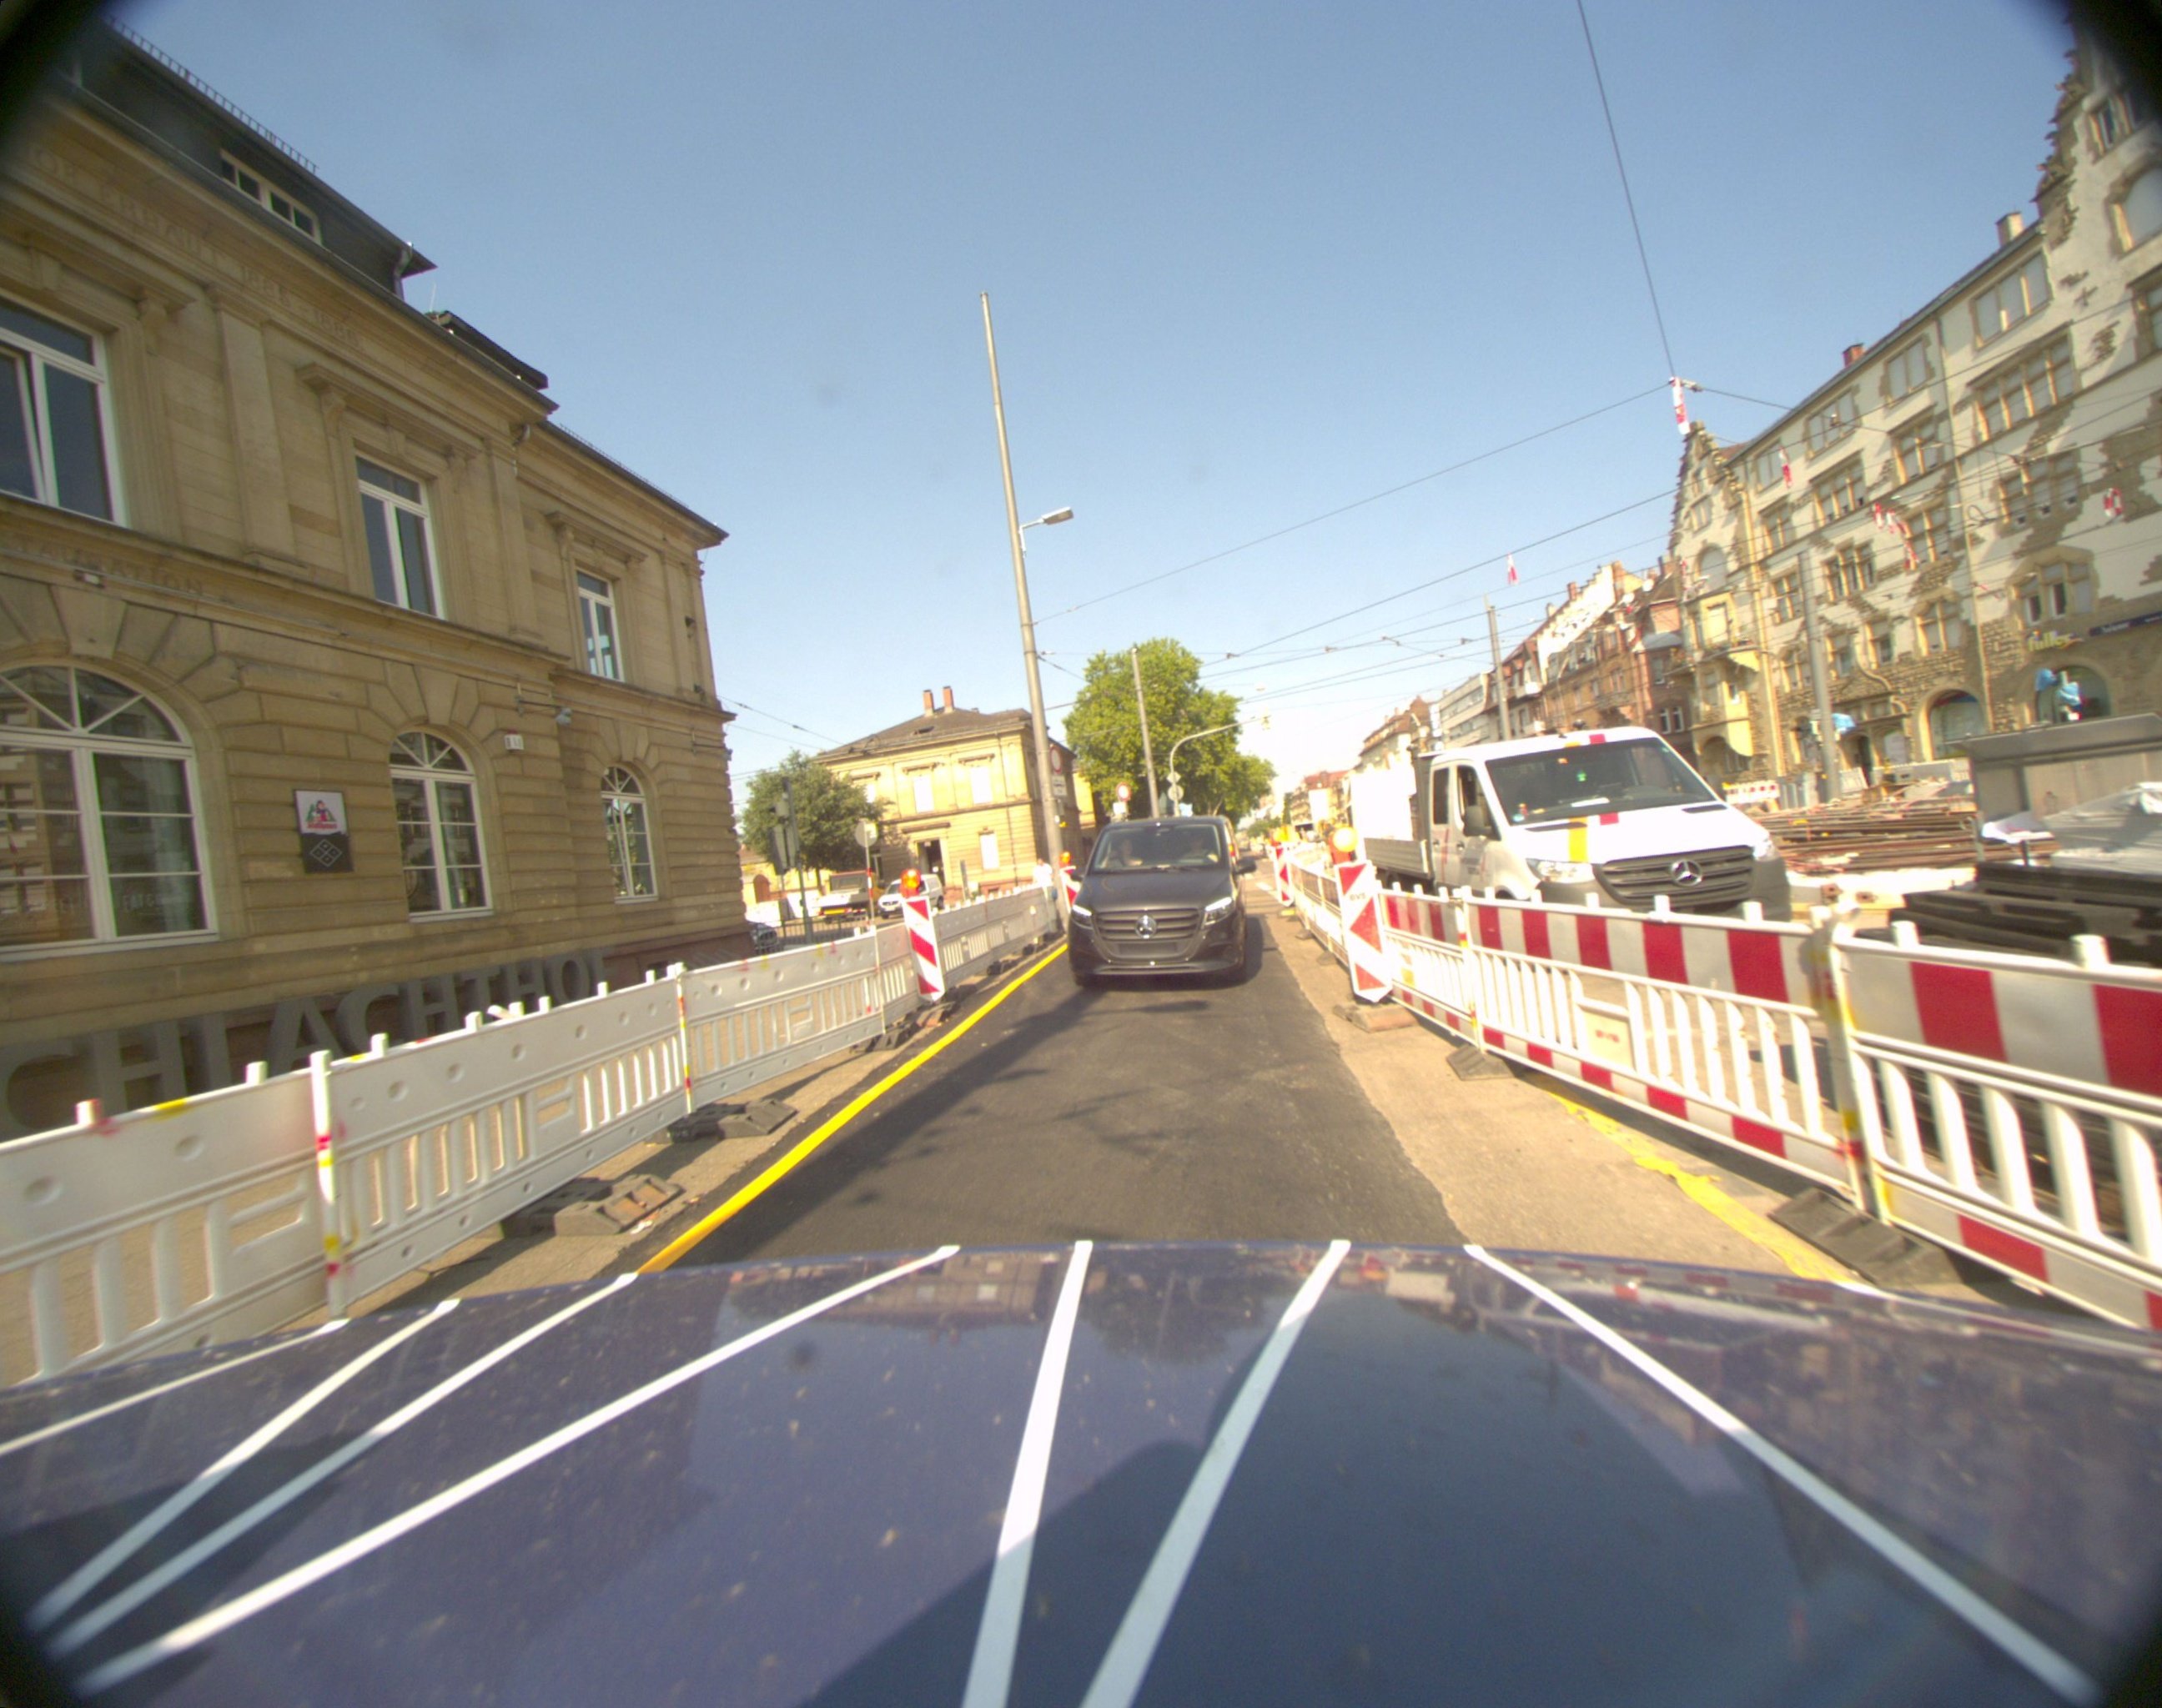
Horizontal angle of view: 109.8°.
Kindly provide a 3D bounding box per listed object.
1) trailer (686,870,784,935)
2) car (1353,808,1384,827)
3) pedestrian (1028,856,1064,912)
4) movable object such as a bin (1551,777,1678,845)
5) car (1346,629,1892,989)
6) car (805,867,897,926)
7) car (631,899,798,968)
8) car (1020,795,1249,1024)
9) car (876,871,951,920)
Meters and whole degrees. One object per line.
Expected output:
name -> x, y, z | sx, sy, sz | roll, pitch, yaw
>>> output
trailer -> -20.273, 2.830, 44.678 | 4.117, 3.030, 2.514 | -9, 1, 4
car -> 38.319, -4.827, 101.536 | 2.365, 2.122, 7.126 | -7, 0, 11
pedestrian -> -1.150, 0.980, 25.301 | 0.868, 1.727, 0.671 | -7, 0, 10
movable object such as a bin -> 14.803, -1.156, 21.291 | 1.603, 1.549, 3.288 | -7, 0, 12
car -> 5.205, -0.374, 9.229 | 2.212, 2.410, 7.203 | -7, 0, 9
car -> -11.609, 2.076, 38.891 | 2.263, 2.408, 5.491 | -7, 0, 6
car -> -10.727, 2.308, 22.426 | 4.009, 1.528, 1.665 | -5, 1, 1
car -> 0.836, 0.460, 8.649 | 1.852, 1.875, 4.181 | -5, 1, 11
car -> -7.954, 1.919, 36.493 | 1.907, 1.773, 4.226 | -6, 2, 10
